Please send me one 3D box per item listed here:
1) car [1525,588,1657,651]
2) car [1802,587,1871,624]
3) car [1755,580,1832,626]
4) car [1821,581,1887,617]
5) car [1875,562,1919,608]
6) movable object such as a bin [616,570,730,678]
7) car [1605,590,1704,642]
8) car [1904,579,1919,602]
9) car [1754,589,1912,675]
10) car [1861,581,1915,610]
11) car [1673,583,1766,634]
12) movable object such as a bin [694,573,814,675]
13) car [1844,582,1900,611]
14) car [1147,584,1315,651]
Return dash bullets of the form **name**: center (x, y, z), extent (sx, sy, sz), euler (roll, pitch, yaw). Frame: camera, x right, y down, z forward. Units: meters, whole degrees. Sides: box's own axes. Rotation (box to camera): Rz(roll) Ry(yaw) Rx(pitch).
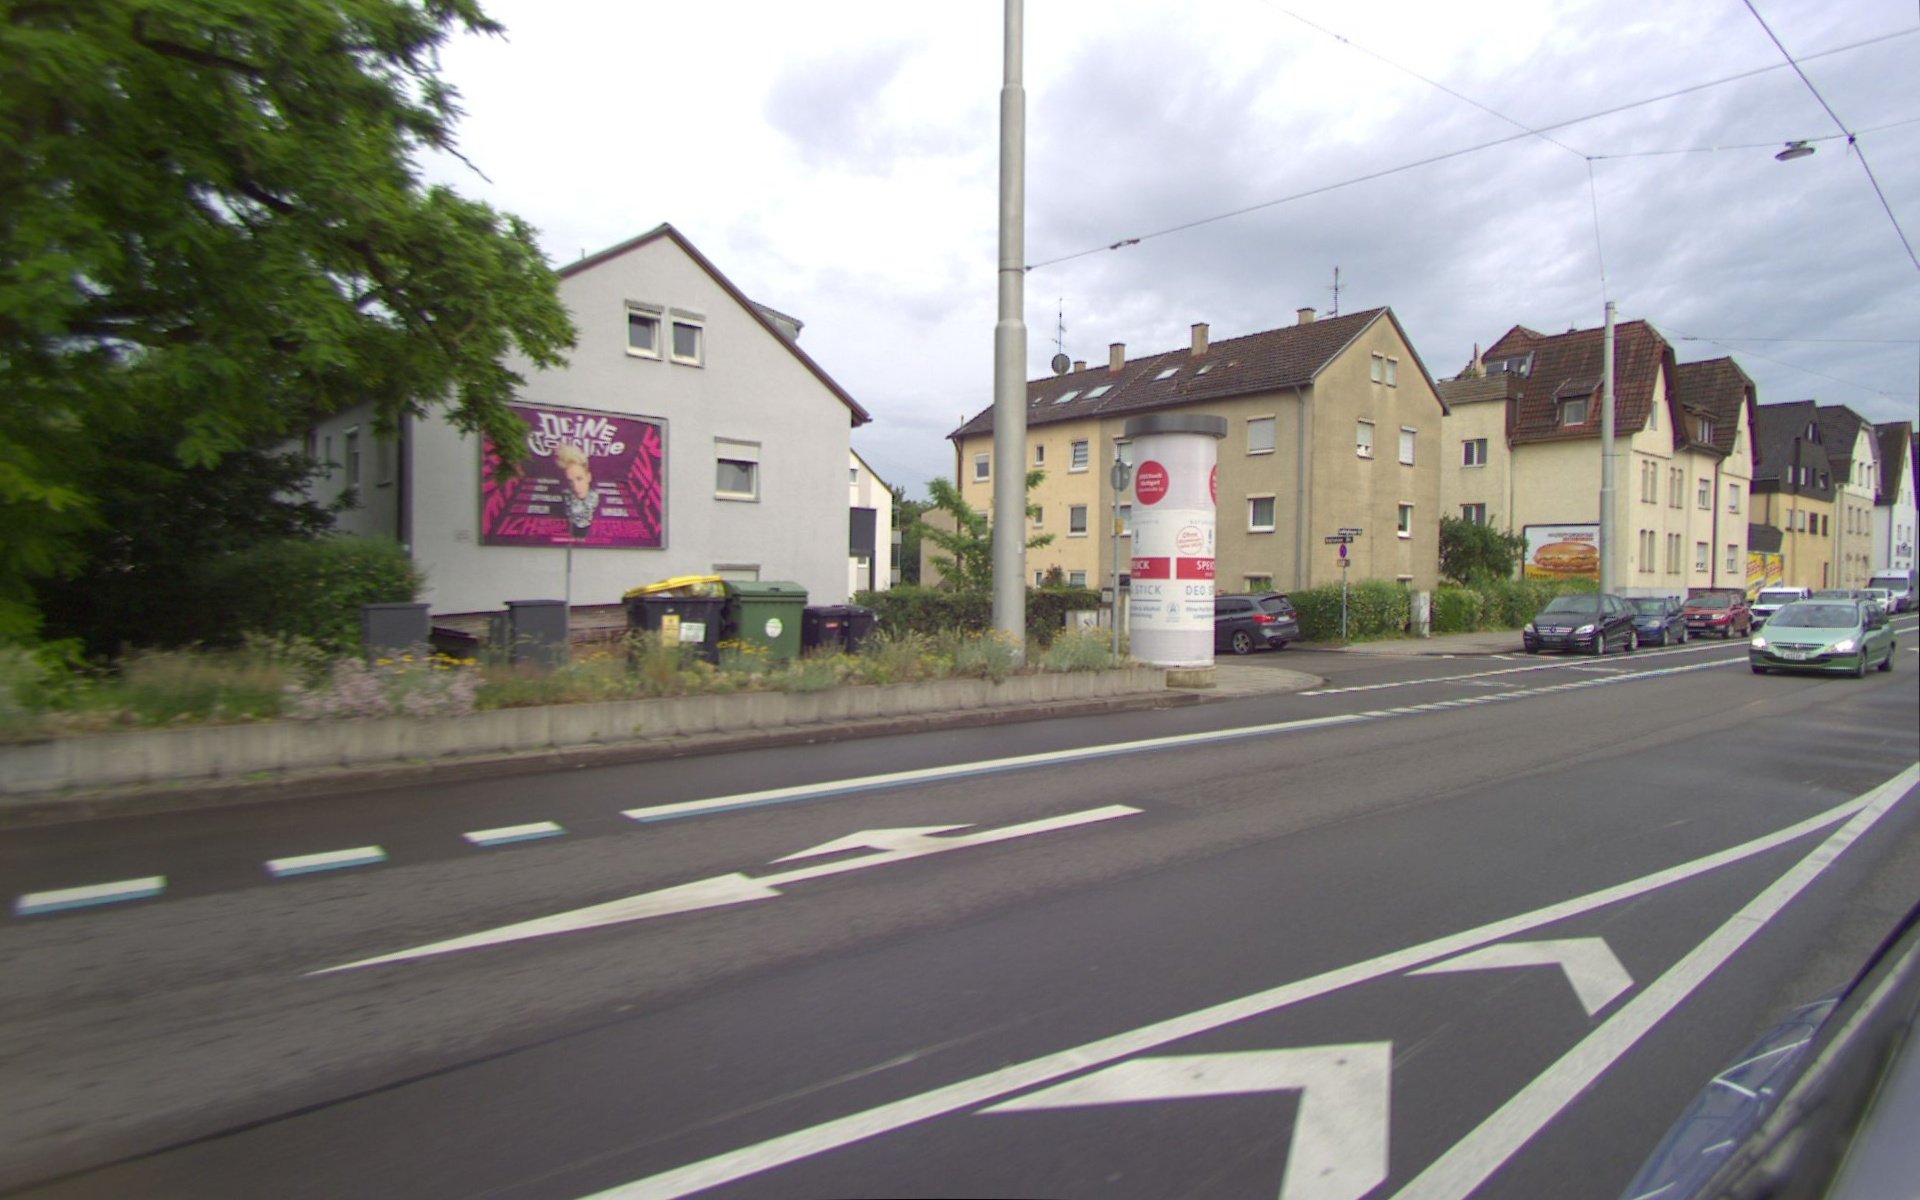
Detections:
- **car**: center (17.011, 0.460, 27.190), extent (4.362, 1.553, 1.840), euler (-1, 0, -41)
- **car**: center (39.740, 0.228, 45.879), extent (4.063, 1.530, 1.690), euler (-2, 1, -39)
- **car**: center (34.637, 0.100, 42.020), extent (4.445, 1.778, 1.849), euler (-1, 1, -42)
- **car**: center (43.307, -0.093, 49.001), extent (4.206, 1.585, 1.705), euler (-2, 1, -39)
- **car**: center (55.148, -0.914, 58.890), extent (5.818, 2.530, 2.043), euler (-2, 1, -40)
- **movable object such as a bin**: center (-4.098, 0.314, 14.436), extent (1.116, 1.435, 1.185), euler (-2, 1, -43)
- **car**: center (21.364, 0.441, 31.091), extent (3.862, 1.462, 1.669), euler (-1, 1, -42)
- **car**: center (60.353, -0.602, 63.138), extent (4.015, 1.362, 1.725), euler (-2, 1, -41)
- **car**: center (17.777, 0.569, 20.549), extent (4.129, 1.467, 1.886), euler (-2, 1, -41)
- **car**: center (50.788, -0.244, 55.392), extent (4.126, 1.482, 1.604), euler (-2, 1, -39)
- **car**: center (27.016, 0.260, 35.966), extent (4.028, 1.648, 1.840), euler (-1, 1, -41)
- **movable object such as a bin**: center (-3.129, 0.331, 15.376), extent (1.279, 1.435, 1.312), euler (-2, 1, -43)
- **car**: center (47.170, -0.187, 52.338), extent (3.724, 1.419, 1.604), euler (-2, 1, -39)
- **car**: center (7.530, 0.495, 28.473), extent (1.845, 1.676, 4.285), euler (-2, 0, -37)
